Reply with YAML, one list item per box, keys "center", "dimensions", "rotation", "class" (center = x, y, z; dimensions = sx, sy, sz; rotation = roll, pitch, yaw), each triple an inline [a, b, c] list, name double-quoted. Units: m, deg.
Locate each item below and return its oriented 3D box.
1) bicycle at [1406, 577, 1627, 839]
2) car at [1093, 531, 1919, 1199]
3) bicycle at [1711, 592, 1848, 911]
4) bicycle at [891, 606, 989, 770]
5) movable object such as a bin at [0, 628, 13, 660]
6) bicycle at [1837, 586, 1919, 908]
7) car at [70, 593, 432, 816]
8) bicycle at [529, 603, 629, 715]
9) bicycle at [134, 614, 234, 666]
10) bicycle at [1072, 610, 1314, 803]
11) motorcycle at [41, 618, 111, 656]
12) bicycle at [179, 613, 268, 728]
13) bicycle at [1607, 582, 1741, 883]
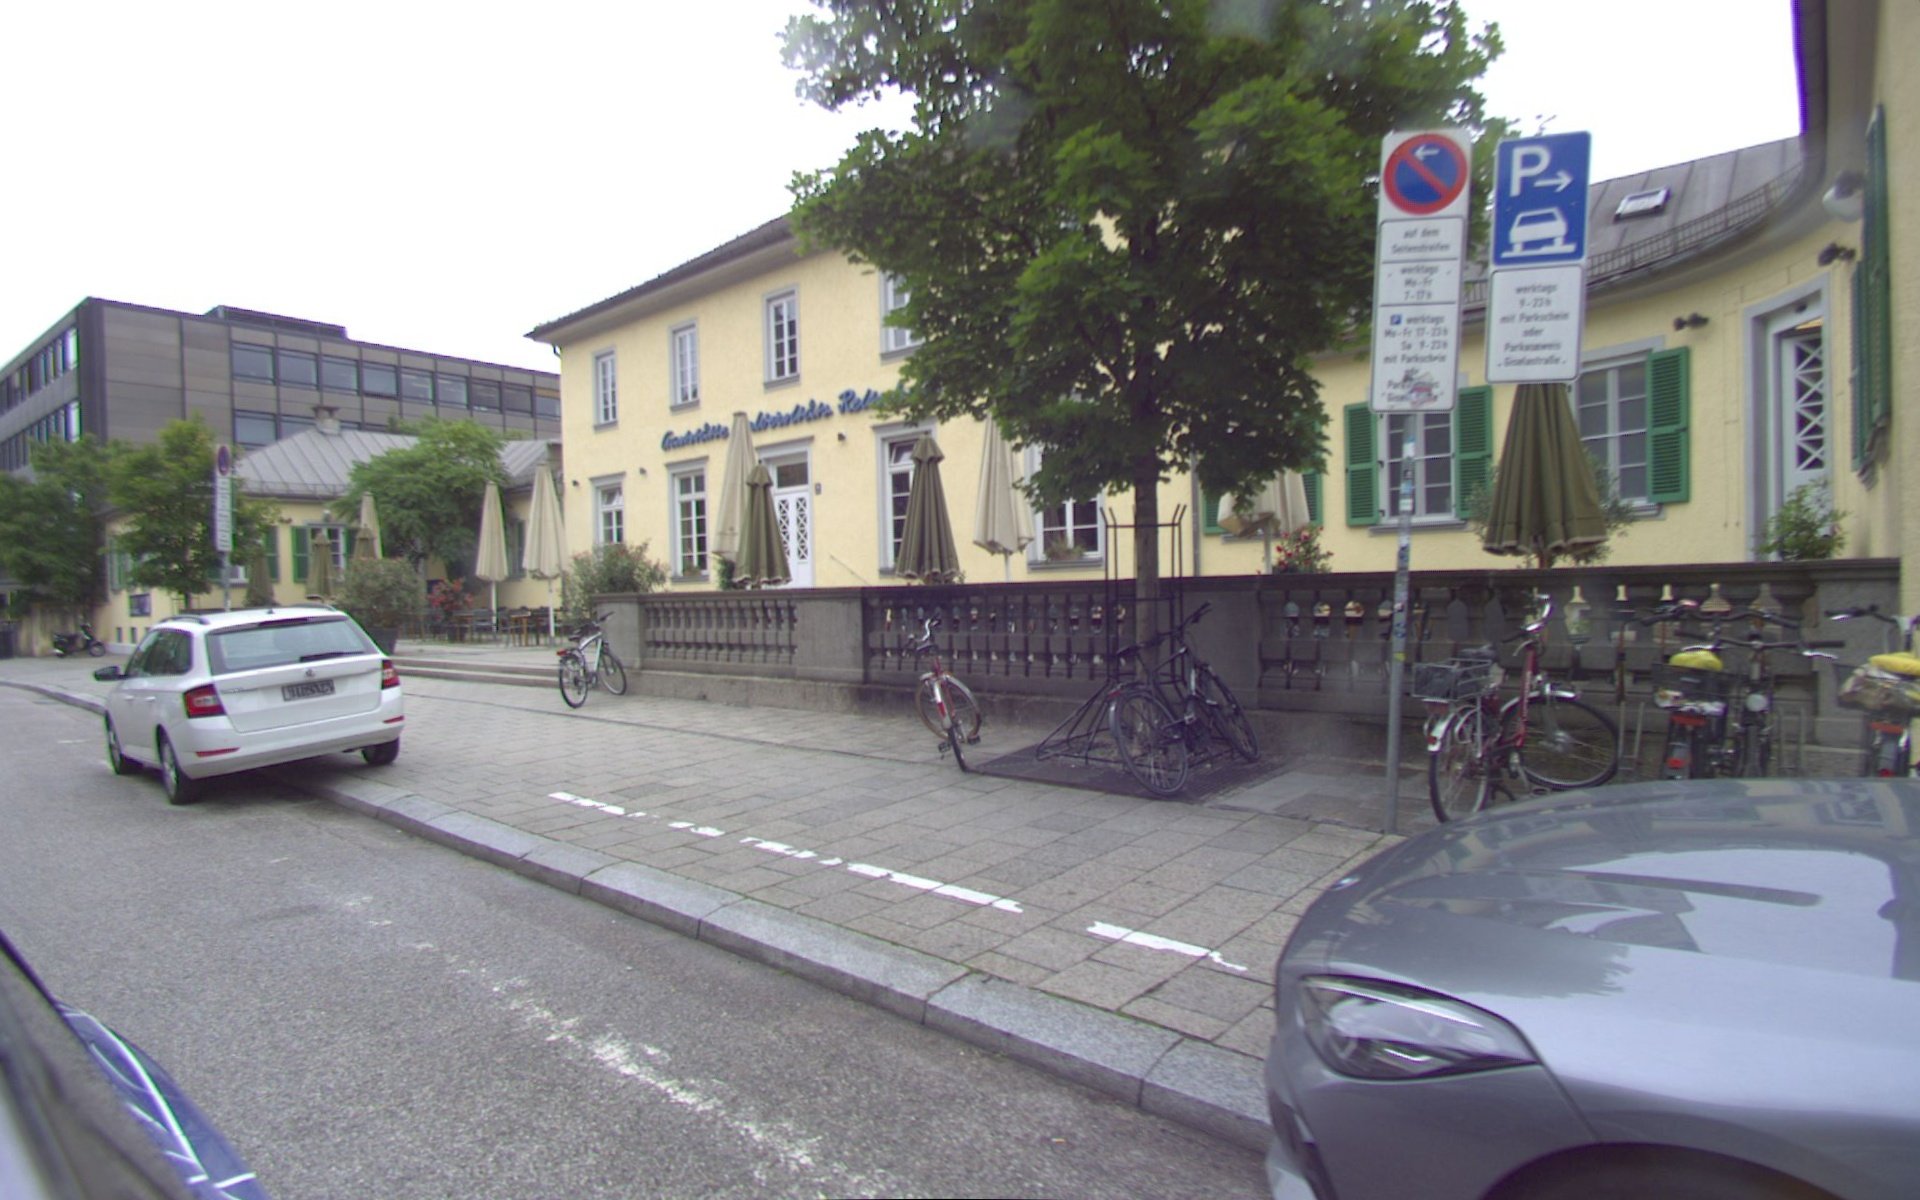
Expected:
- center: [3.005, 0.492, 5.395]
  dimensions: [1.608, 1.182, 0.467]
  rotation: [-3, 1, -40]
  class: "bicycle"
- center: [2.661, 0.621, 1.217]
  dimensions: [4.651, 1.530, 1.878]
  rotation: [-1, 2, 40]
  class: "car"
- center: [3.643, 0.559, 4.483]
  dimensions: [0.387, 1.145, 1.612]
  rotation: [-1, 1, 40]
  class: "bicycle"
- center: [-0.115, 0.612, 7.779]
  dimensions: [0.629, 1.096, 1.633]
  rotation: [-2, 0, 2]
  class: "bicycle"
- center: [-34.361, 1.580, 36.181]
  dimensions: [0.459, 1.117, 0.607]
  rotation: [-1, 2, 37]
  class: "movable object such as a bin"
- center: [4.131, 0.536, 4.210]
  dimensions: [0.642, 1.157, 1.474]
  rotation: [-1, 1, 44]
  class: "bicycle"
- center: [-6.660, 0.767, 9.293]
  dimensions: [4.460, 1.503, 1.707]
  rotation: [-1, 2, 42]
  class: "car"
- center: [-4.703, 0.691, 12.585]
  dimensions: [0.563, 1.271, 1.567]
  rotation: [-2, 0, 2]
  class: "bicycle"
- center: [-19.243, 0.981, 25.119]
  dimensions: [0.466, 1.042, 1.824]
  rotation: [-2, 5, 41]
  class: "bicycle"
- center: [1.583, 0.634, 6.706]
  dimensions: [1.703, 1.035, 0.645]
  rotation: [-4, 1, -41]
  class: "bicycle"
- center: [-29.727, 1.228, 34.065]
  dimensions: [1.642, 1.120, 0.591]
  rotation: [-4, 3, -8]
  class: "motorcycle"
- center: [-9.728, 0.885, 13.344]
  dimensions: [0.770, 1.379, 1.698]
  rotation: [-2, 1, -41]
  class: "bicycle"
- center: [3.432, 0.523, 4.814]
  dimensions: [0.352, 1.180, 1.684]
  rotation: [-1, 1, 40]
  class: "bicycle"
